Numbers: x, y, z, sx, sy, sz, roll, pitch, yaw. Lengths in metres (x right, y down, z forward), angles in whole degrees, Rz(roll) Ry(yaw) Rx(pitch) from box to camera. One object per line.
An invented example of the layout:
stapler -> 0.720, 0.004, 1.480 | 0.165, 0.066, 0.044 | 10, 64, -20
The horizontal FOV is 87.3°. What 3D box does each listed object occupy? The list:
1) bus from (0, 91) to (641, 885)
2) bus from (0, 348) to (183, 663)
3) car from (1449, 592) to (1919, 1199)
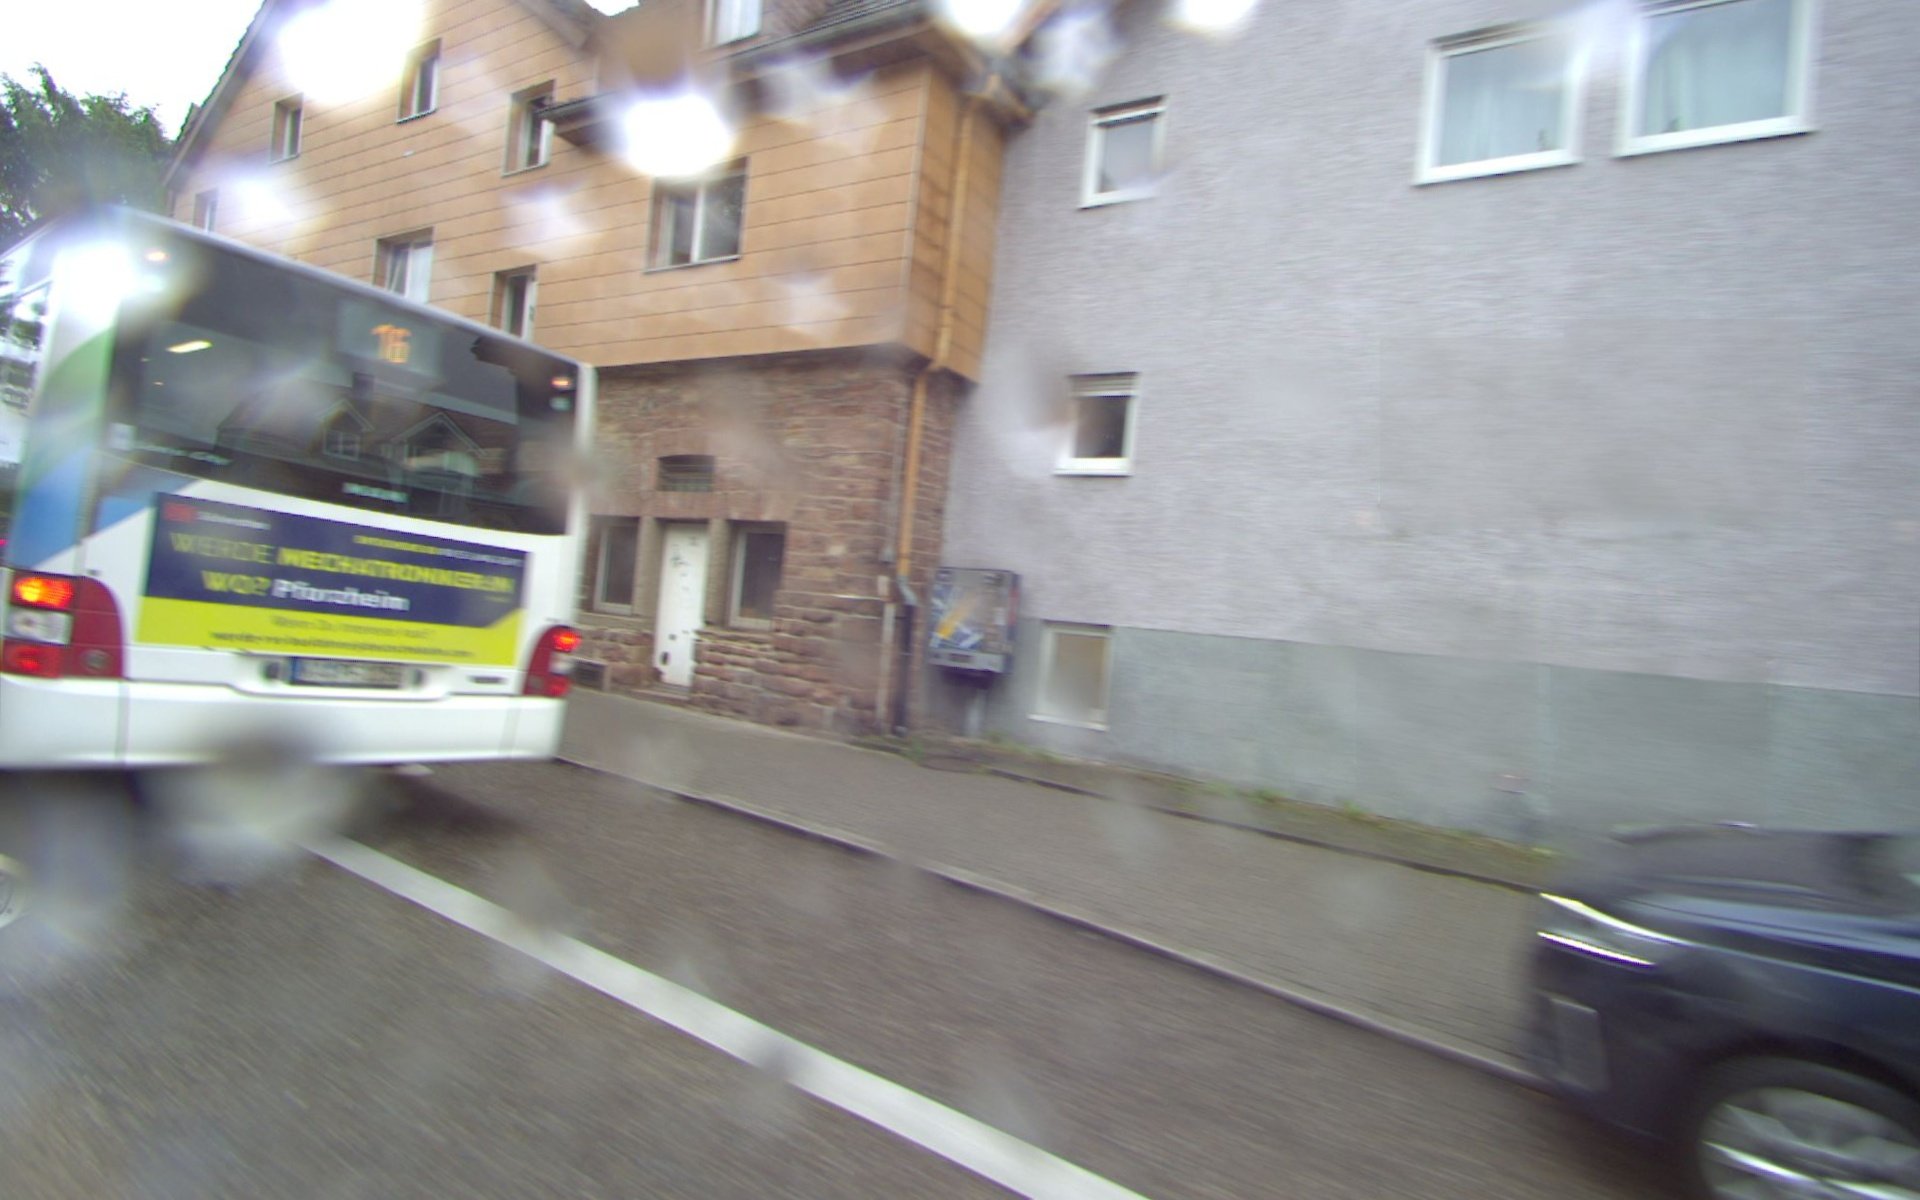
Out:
bus -> -6.065, -0.600, 7.376 | 8.431, 2.993, 2.555 | 6, -2, 38
bus -> -13.241, -1.342, 12.445 | 9.296, 2.993, 2.560 | 6, -2, 33
car -> 4.059, 1.139, 2.547 | 4.618, 1.831, 1.840 | 7, 2, 41
